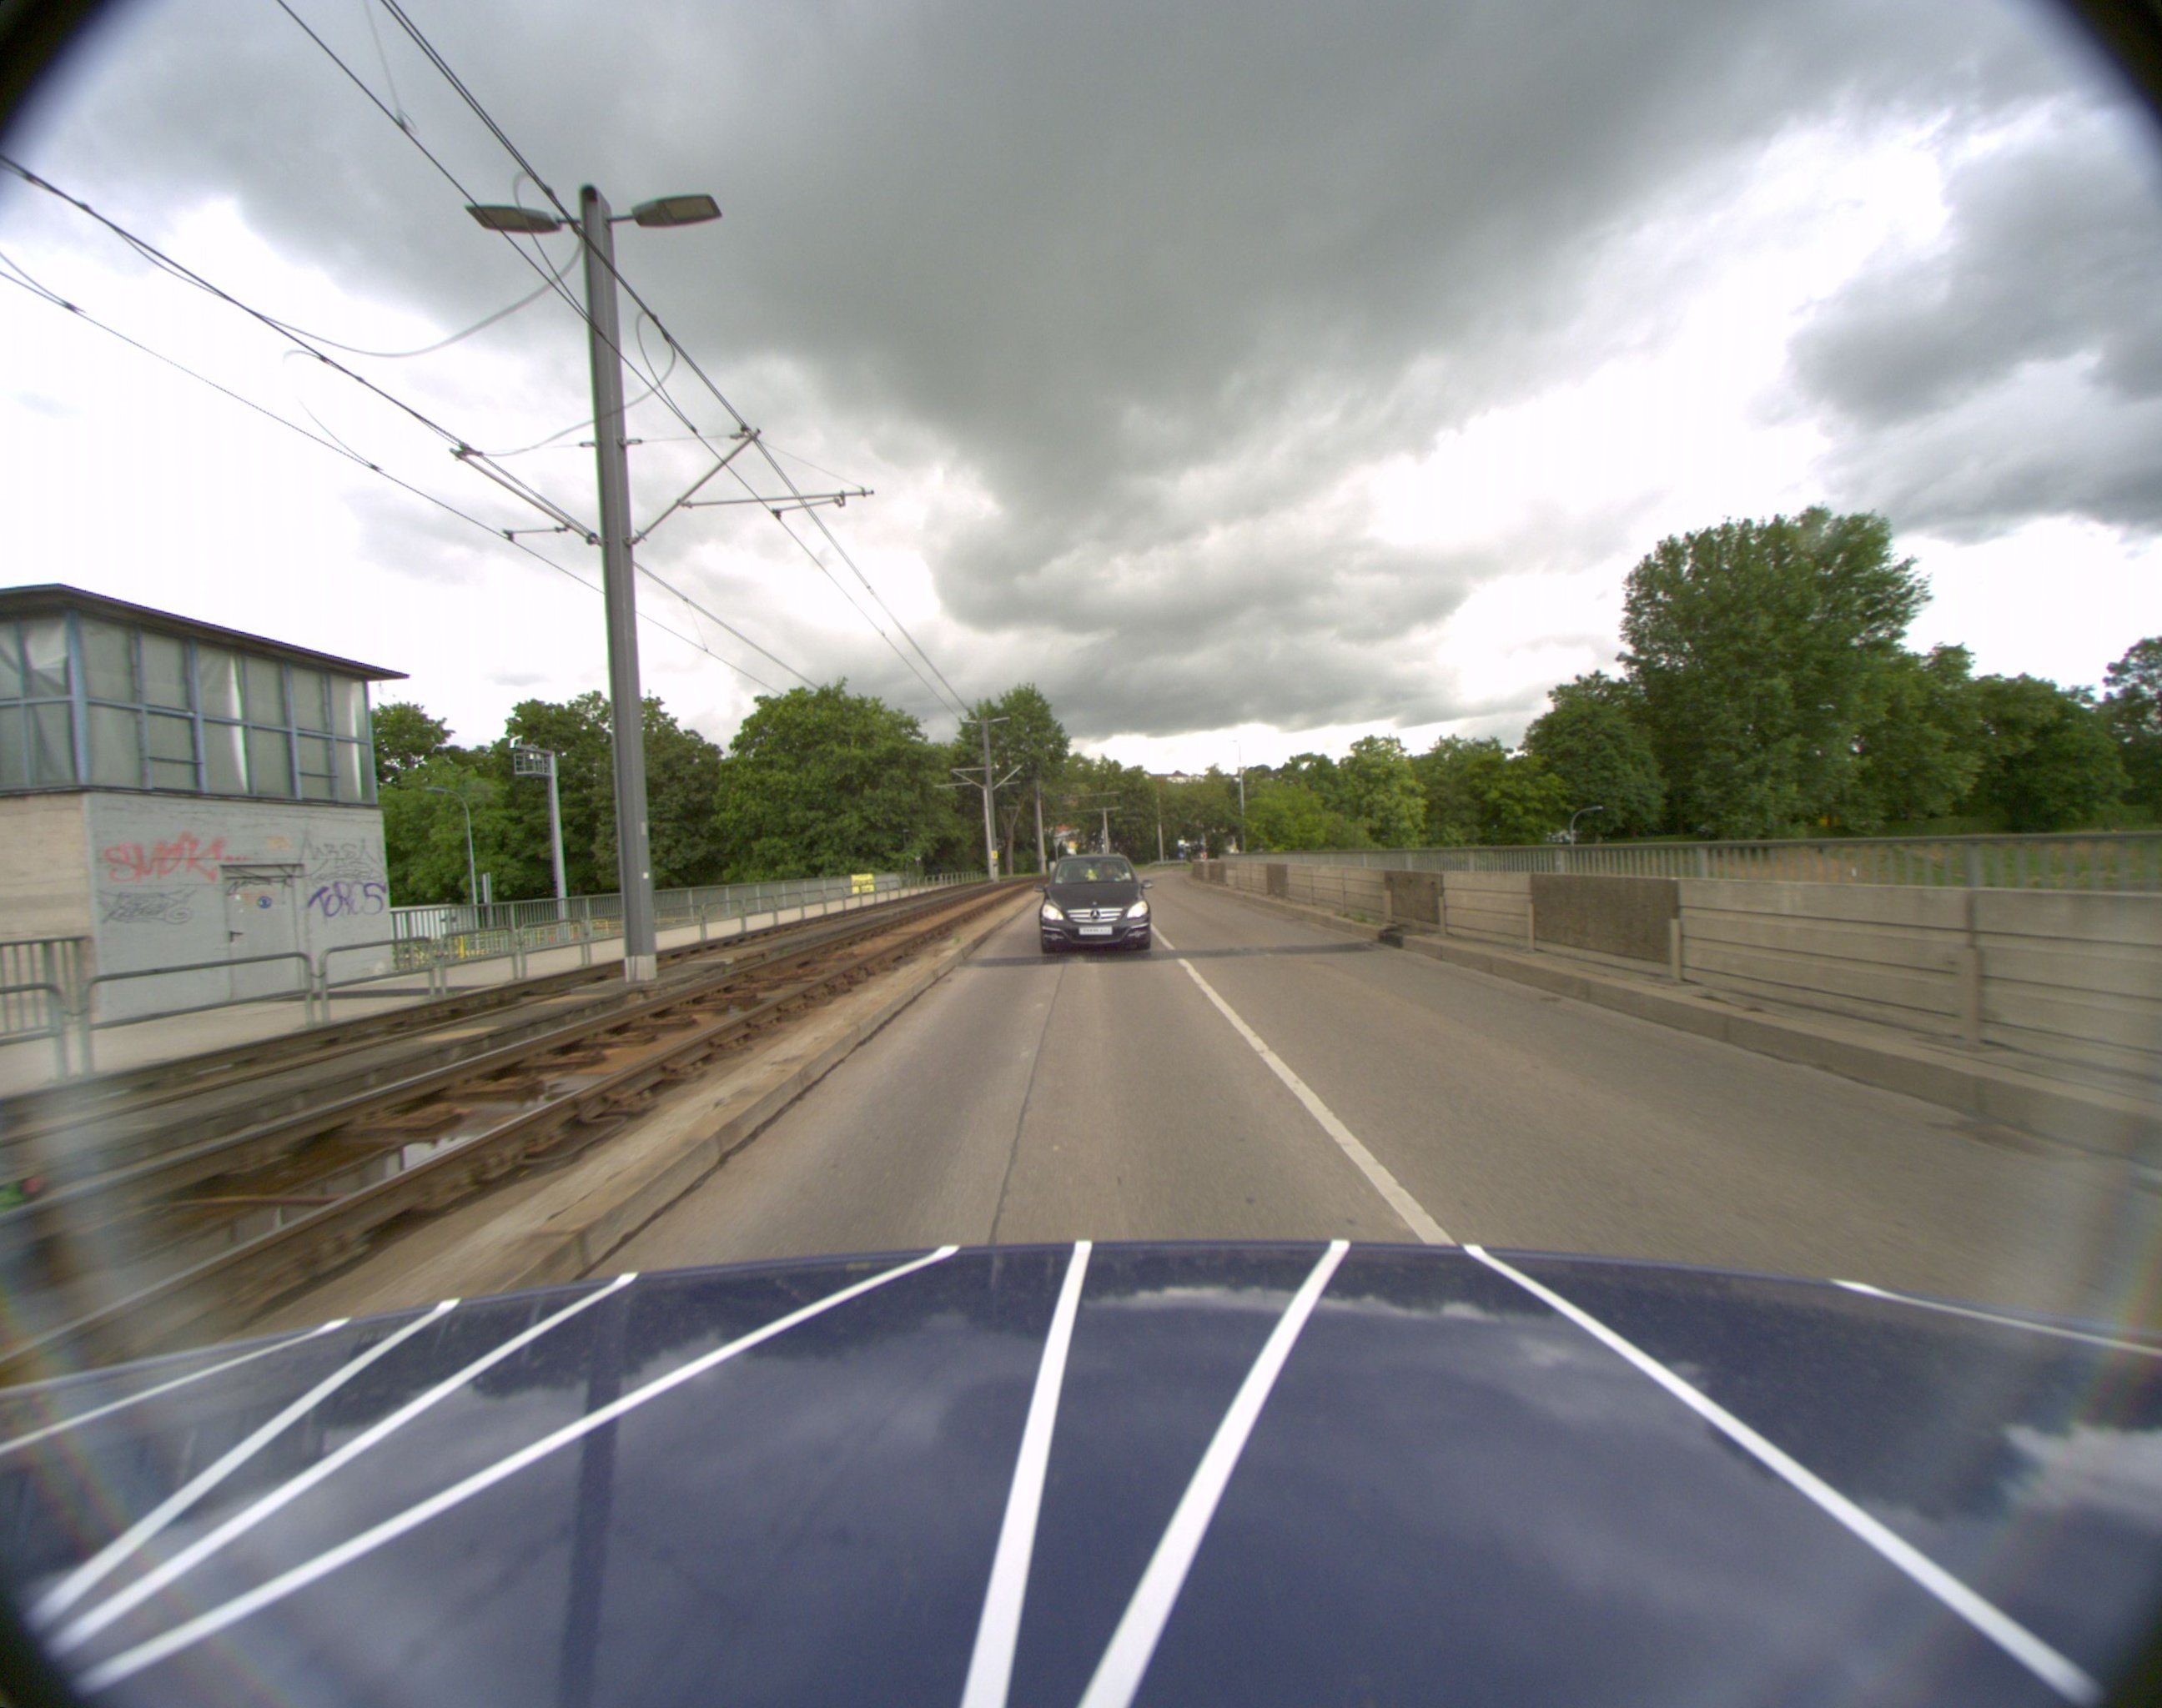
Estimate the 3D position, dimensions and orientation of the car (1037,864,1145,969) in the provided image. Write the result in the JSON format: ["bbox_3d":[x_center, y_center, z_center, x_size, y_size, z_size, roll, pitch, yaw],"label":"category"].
[{"bbox_3d":[0.173,1.047,14.547,1.711,1.573,4.442,-2,0,0],"label":"car"}]
